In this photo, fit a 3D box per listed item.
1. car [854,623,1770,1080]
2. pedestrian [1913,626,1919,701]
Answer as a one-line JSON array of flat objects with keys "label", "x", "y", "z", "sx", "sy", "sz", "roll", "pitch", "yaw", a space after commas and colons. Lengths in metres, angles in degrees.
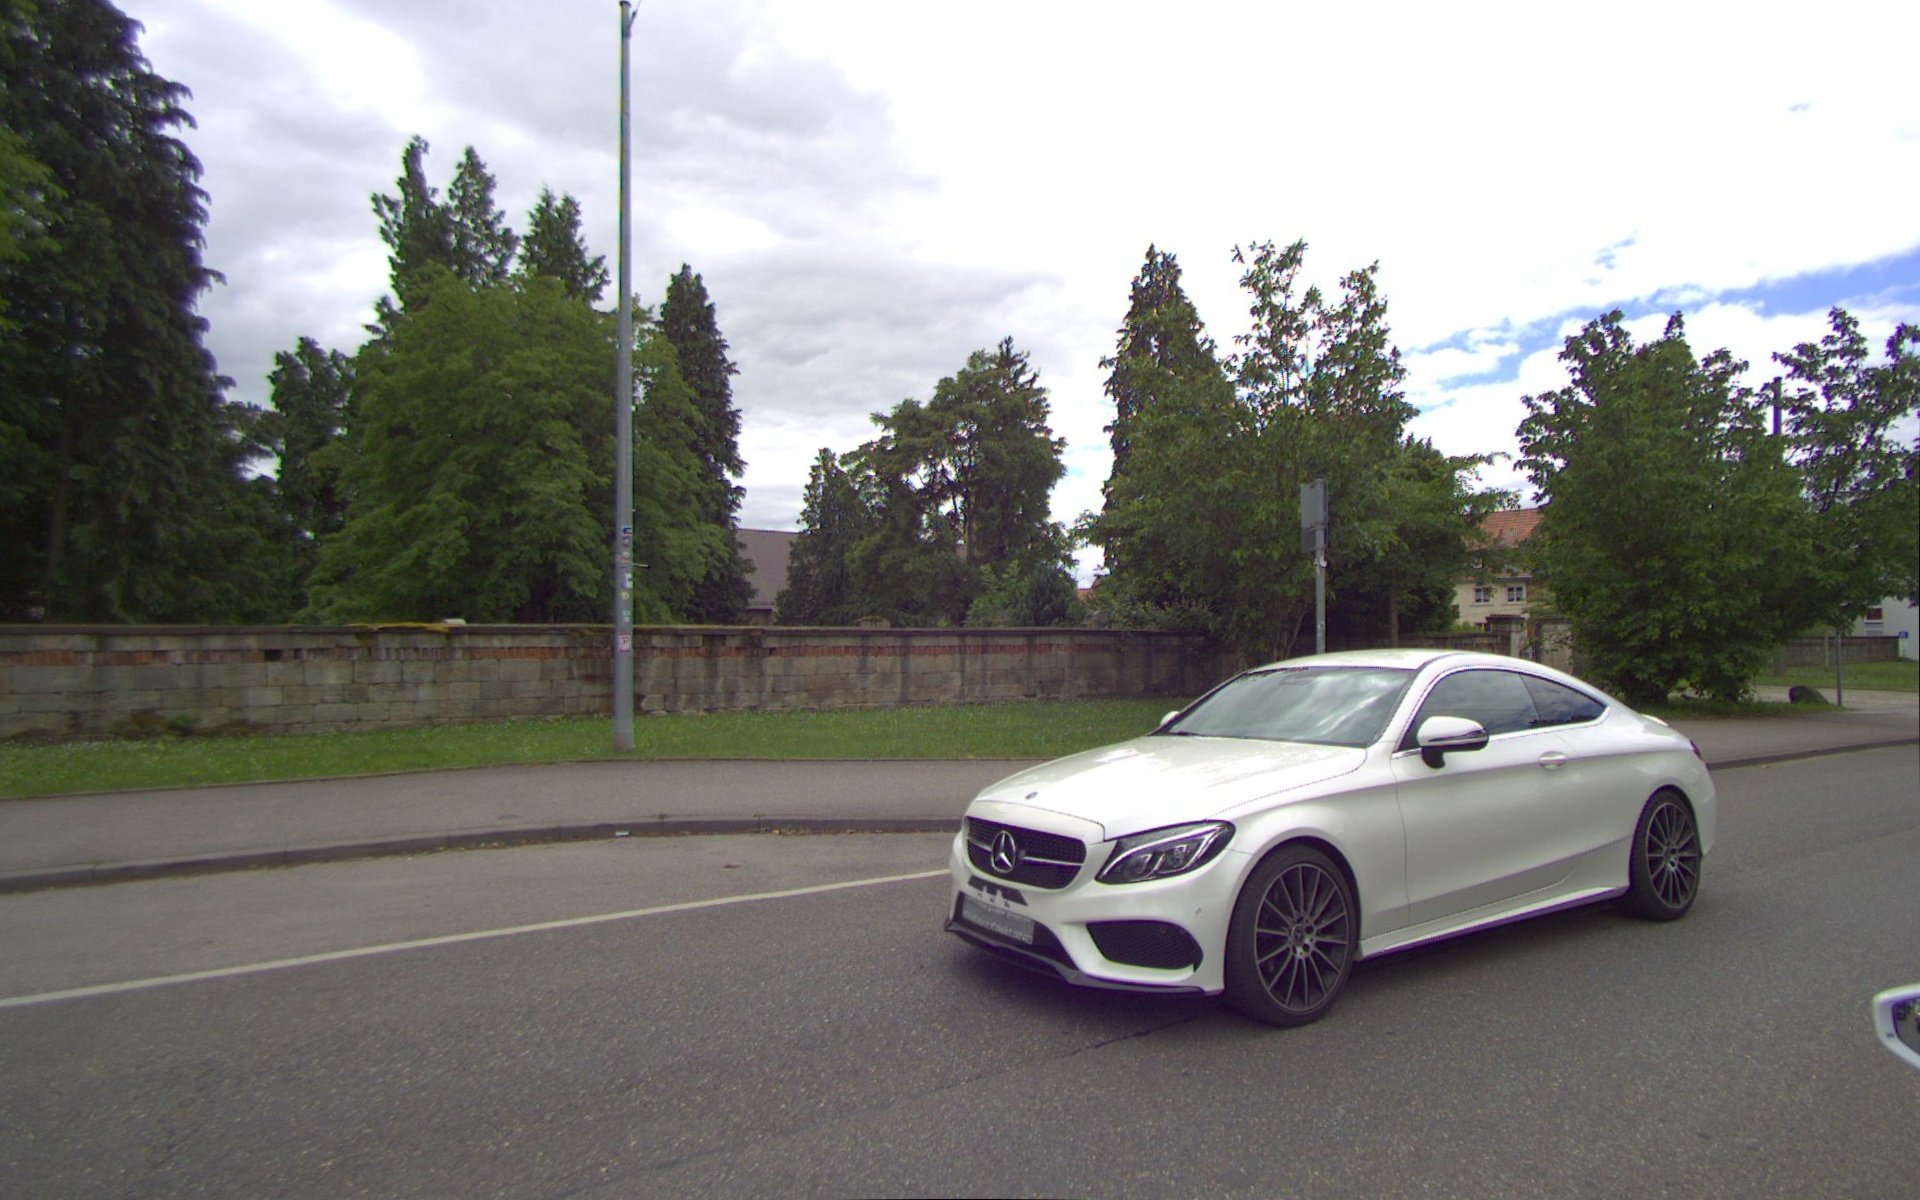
[{"label": "car", "x": 2.000, "y": 0.925, "z": 5.204, "sx": 4.772, "sy": 1.437, "sz": 1.807, "roll": 2, "pitch": -5, "yaw": -31}, {"label": "pedestrian", "x": 23.170, "y": 1.515, "z": 23.693, "sx": 0.894, "sy": 1.771, "sz": 0.763, "roll": 2, "pitch": 0, "yaw": -31}]
